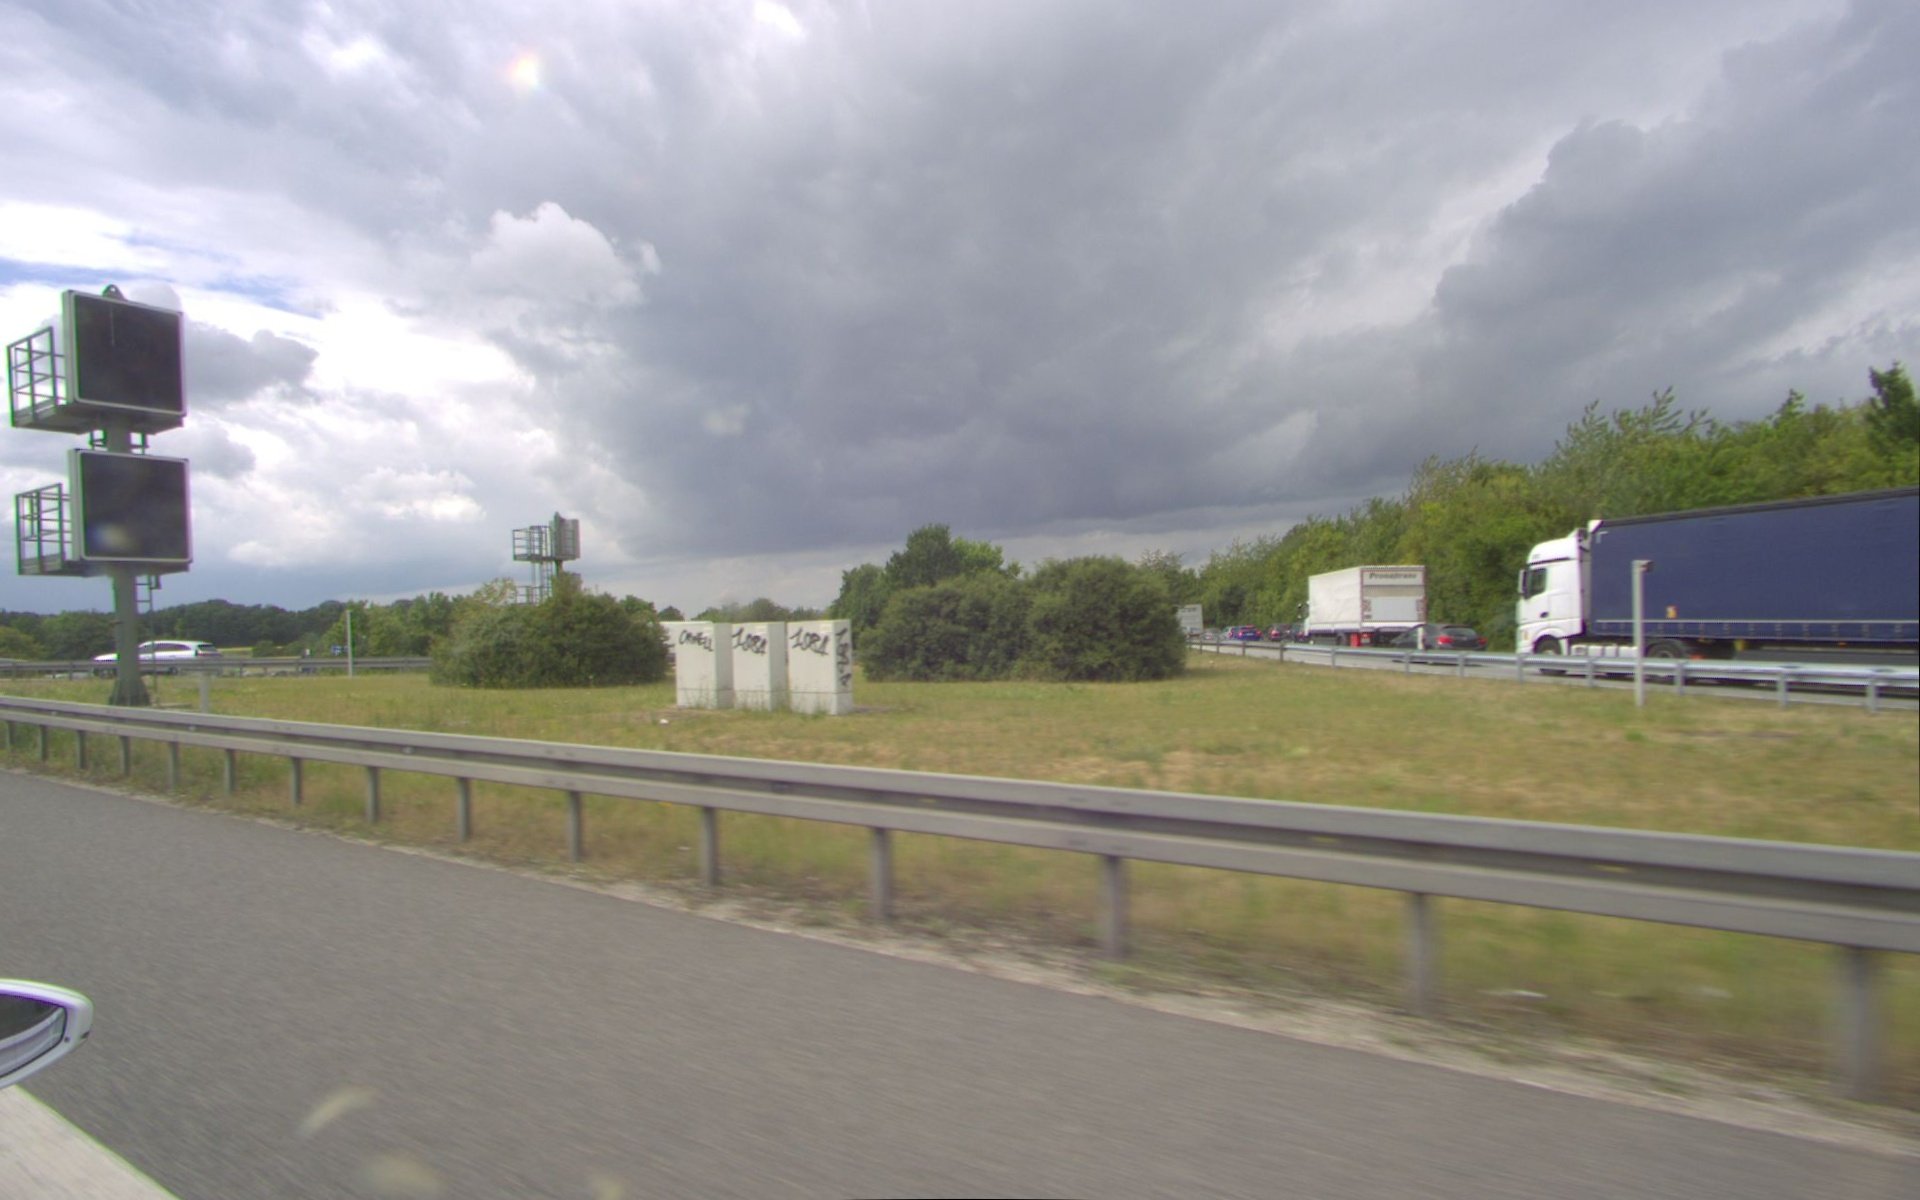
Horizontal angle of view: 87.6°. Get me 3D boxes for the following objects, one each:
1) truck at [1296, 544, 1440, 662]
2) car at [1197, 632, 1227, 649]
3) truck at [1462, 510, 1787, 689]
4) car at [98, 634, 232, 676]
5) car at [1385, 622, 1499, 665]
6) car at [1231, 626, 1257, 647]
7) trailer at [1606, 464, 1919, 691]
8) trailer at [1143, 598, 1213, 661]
[{"bbox_3d":[17.759,0.296,44.433,3.219,4.674,8.996,0,-2,4],"label":"truck"},{"bbox_3d":[23.044,3.709,91.581,1.798,1.505,4.002,0,-2,1],"label":"car"},{"bbox_3d":[17.420,0.085,26.935,3.310,4.148,6.781,0,-1,-15],"label":"truck"},{"bbox_3d":[-34.668,2.384,43.798,4.130,1.705,1.942,-1,-3,-11],"label":"car"},{"bbox_3d":[16.944,1.498,35.482,1.854,1.380,4.788,-1,-1,2],"label":"car"},{"bbox_3d":[21.185,2.730,74.766,1.471,1.487,4.000,-1,-2,10],"label":"car"},{"bbox_3d":[19.474,-0.414,19.225,3.281,4.247,13.017,0,-2,-15],"label":"trailer"},{"bbox_3d":[22.461,3.121,104.071,3.940,6.165,12.100,0,-2,-3],"label":"trailer"}]
